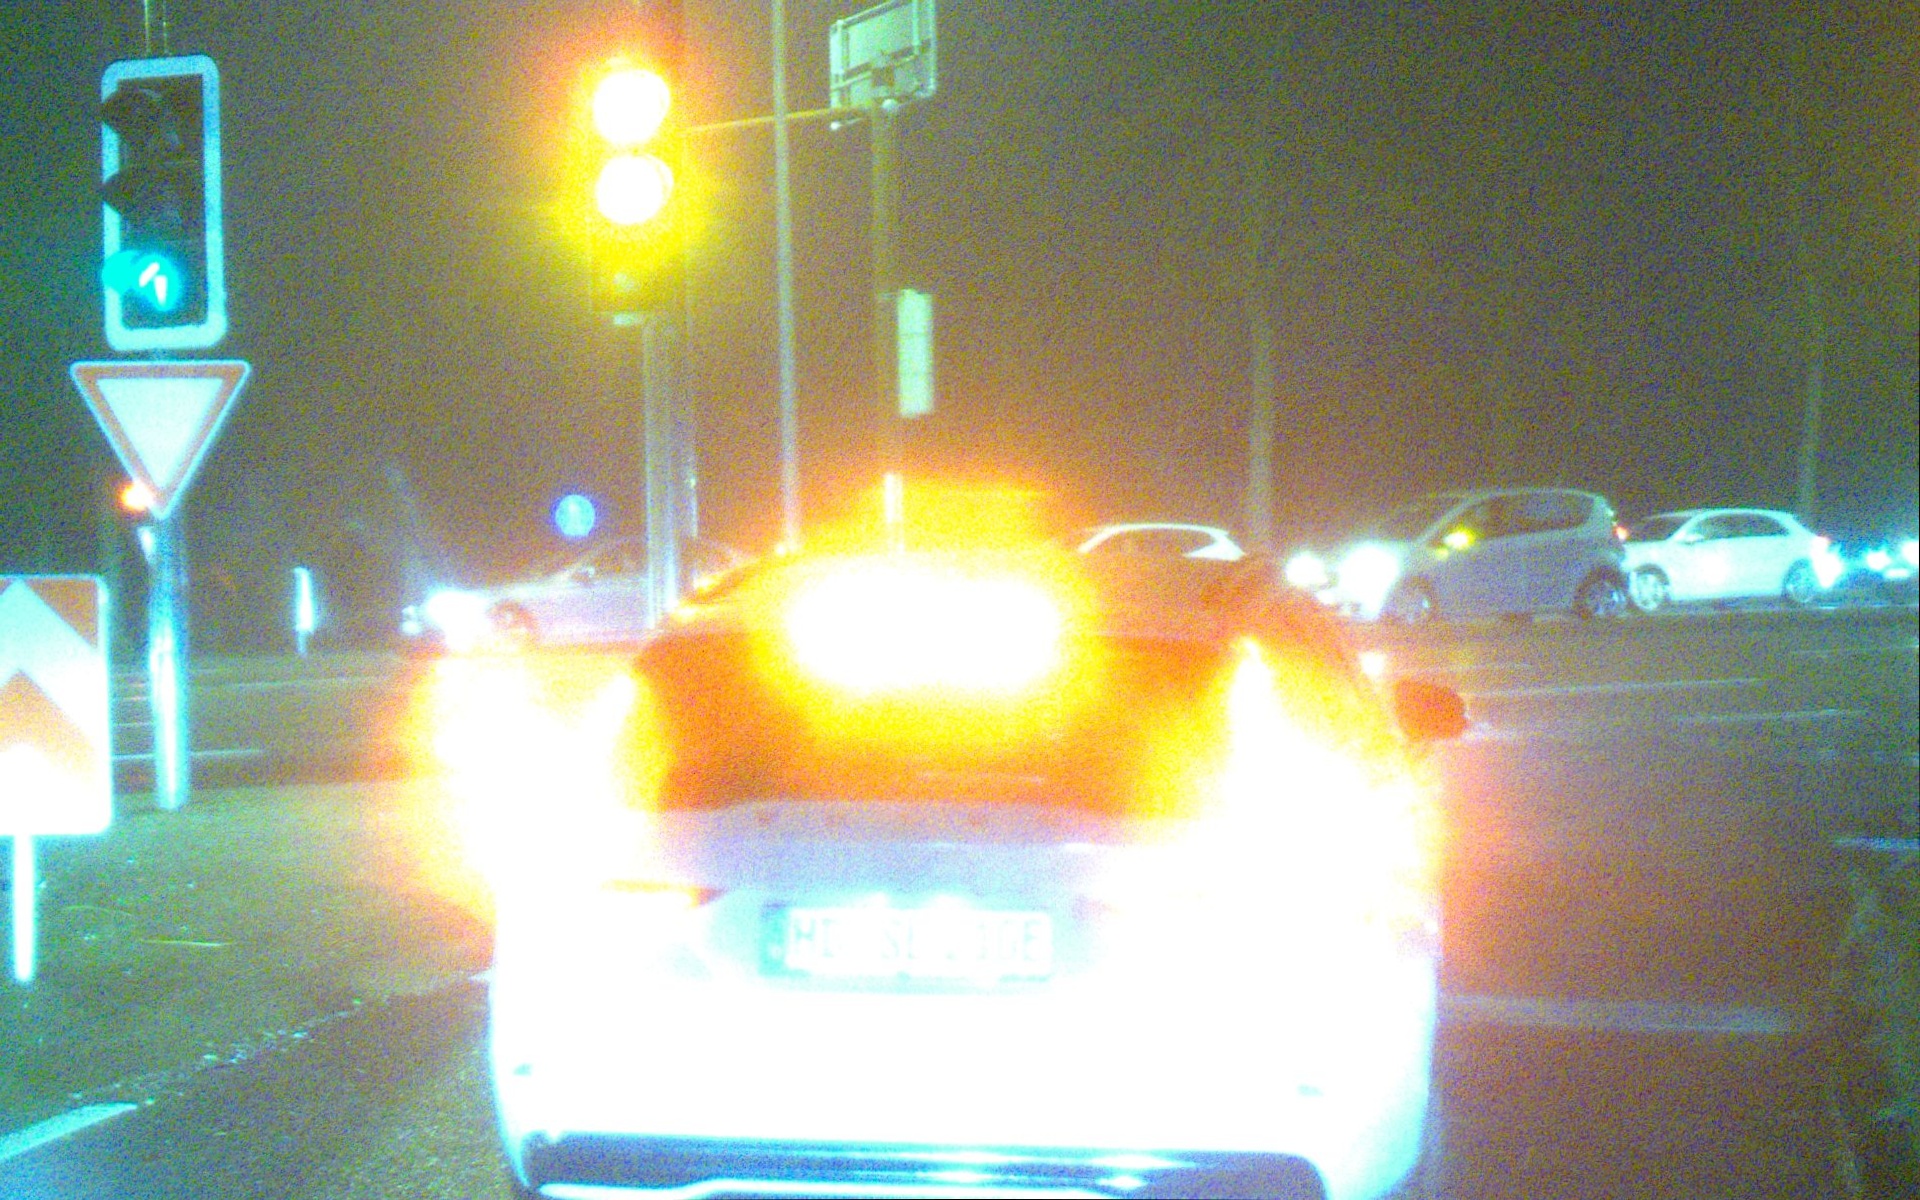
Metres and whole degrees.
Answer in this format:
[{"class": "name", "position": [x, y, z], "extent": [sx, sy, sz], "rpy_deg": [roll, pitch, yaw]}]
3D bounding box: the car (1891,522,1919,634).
[{"class": "car", "position": [14.709, -0.291, 46.208], "extent": [4.043, 1.482, 1.718], "rpy_deg": [0, 0, -23]}]

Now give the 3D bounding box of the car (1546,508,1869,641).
[{"class": "car", "position": [10.492, -0.348, 48.223], "extent": [4.236, 1.793, 1.804], "rpy_deg": [0, 0, -27]}]

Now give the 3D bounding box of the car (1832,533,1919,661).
[{"class": "car", "position": [15.166, -0.044, 51.151], "extent": [4.110, 1.842, 1.766], "rpy_deg": [0, 0, -27]}]

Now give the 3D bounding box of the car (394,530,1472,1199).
[{"class": "car", "position": [0.244, 0.586, 7.935], "extent": [1.797, 1.447, 4.267], "rpy_deg": [0, 2, 9]}]

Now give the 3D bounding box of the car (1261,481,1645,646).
[{"class": "car", "position": [5.509, -0.438, 38.389], "extent": [3.888, 1.719, 1.766], "rpy_deg": [-2, 2, -25]}]

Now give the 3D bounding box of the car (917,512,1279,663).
[{"class": "car", "position": [1.760, -0.160, 43.668], "extent": [4.270, 1.842, 1.766], "rpy_deg": [0, 0, -27]}]

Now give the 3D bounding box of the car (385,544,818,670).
[{"class": "car", "position": [-4.234, 0.068, 40.729], "extent": [4.786, 1.422, 1.766], "rpy_deg": [0, 0, -26]}]
